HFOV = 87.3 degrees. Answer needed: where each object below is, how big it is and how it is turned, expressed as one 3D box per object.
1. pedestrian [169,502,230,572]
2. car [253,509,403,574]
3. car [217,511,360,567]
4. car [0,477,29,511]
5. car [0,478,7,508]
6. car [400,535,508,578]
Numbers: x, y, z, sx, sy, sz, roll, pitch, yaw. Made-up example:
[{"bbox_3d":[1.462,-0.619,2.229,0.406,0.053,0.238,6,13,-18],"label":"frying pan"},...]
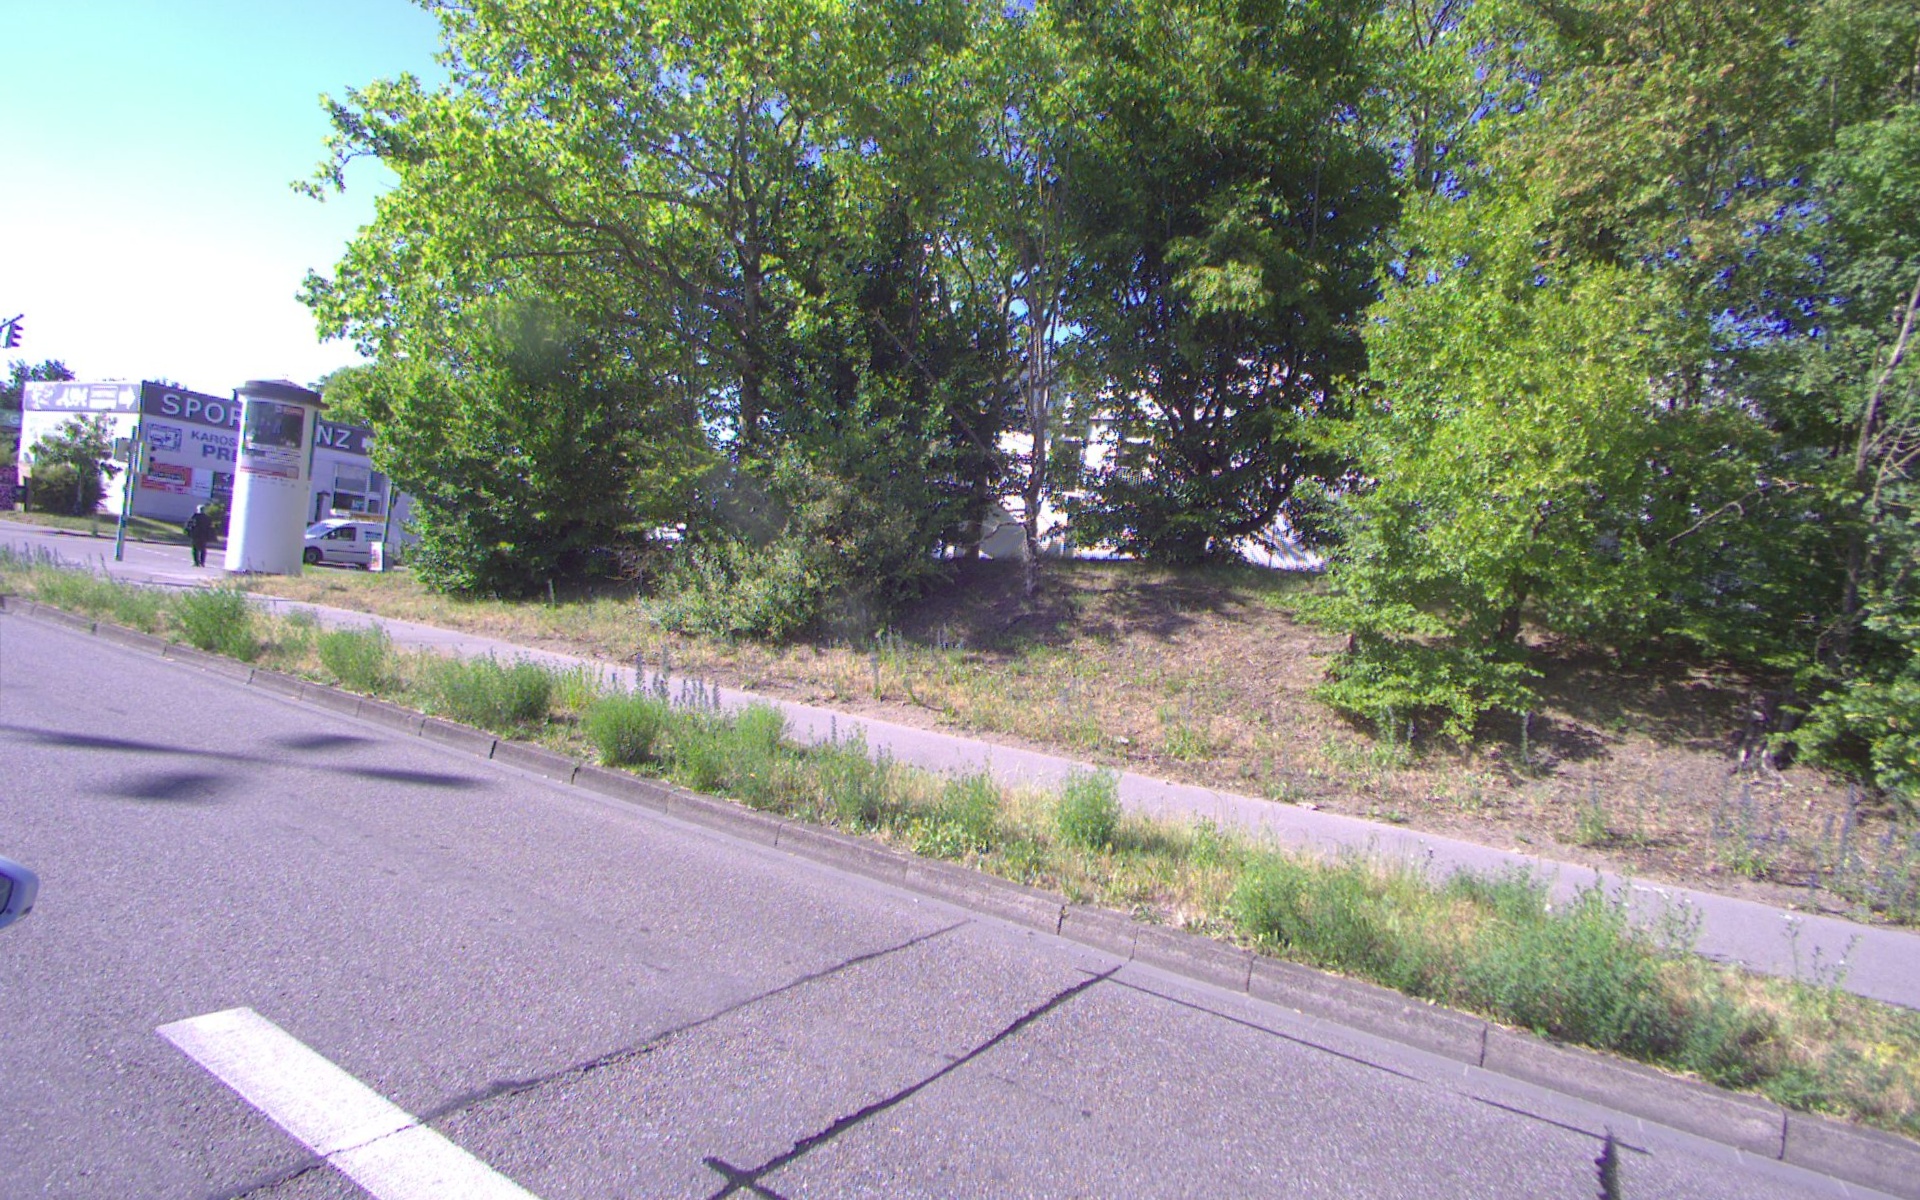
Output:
[{"bbox_3d":[-21.195,-1.747,28.045,0.923,1.755,0.927,6,-1,31],"label":"pedestrian"},{"bbox_3d":[-23.892,-2.189,38.205,1.735,1.824,4.387,9,1,30],"label":"car"},{"bbox_3d":[-26.624,-2.382,40.023,1.735,1.568,4.292,9,1,30],"label":"car"},{"bbox_3d":[-46.892,-5.227,47.105,1.828,1.472,4.490,7,1,33],"label":"car"},{"bbox_3d":[-49.243,-5.494,48.475,1.828,1.472,4.490,7,1,33],"label":"car"},{"bbox_3d":[-23.098,-1.954,46.047,1.752,1.509,4.046,7,1,30],"label":"car"}]
